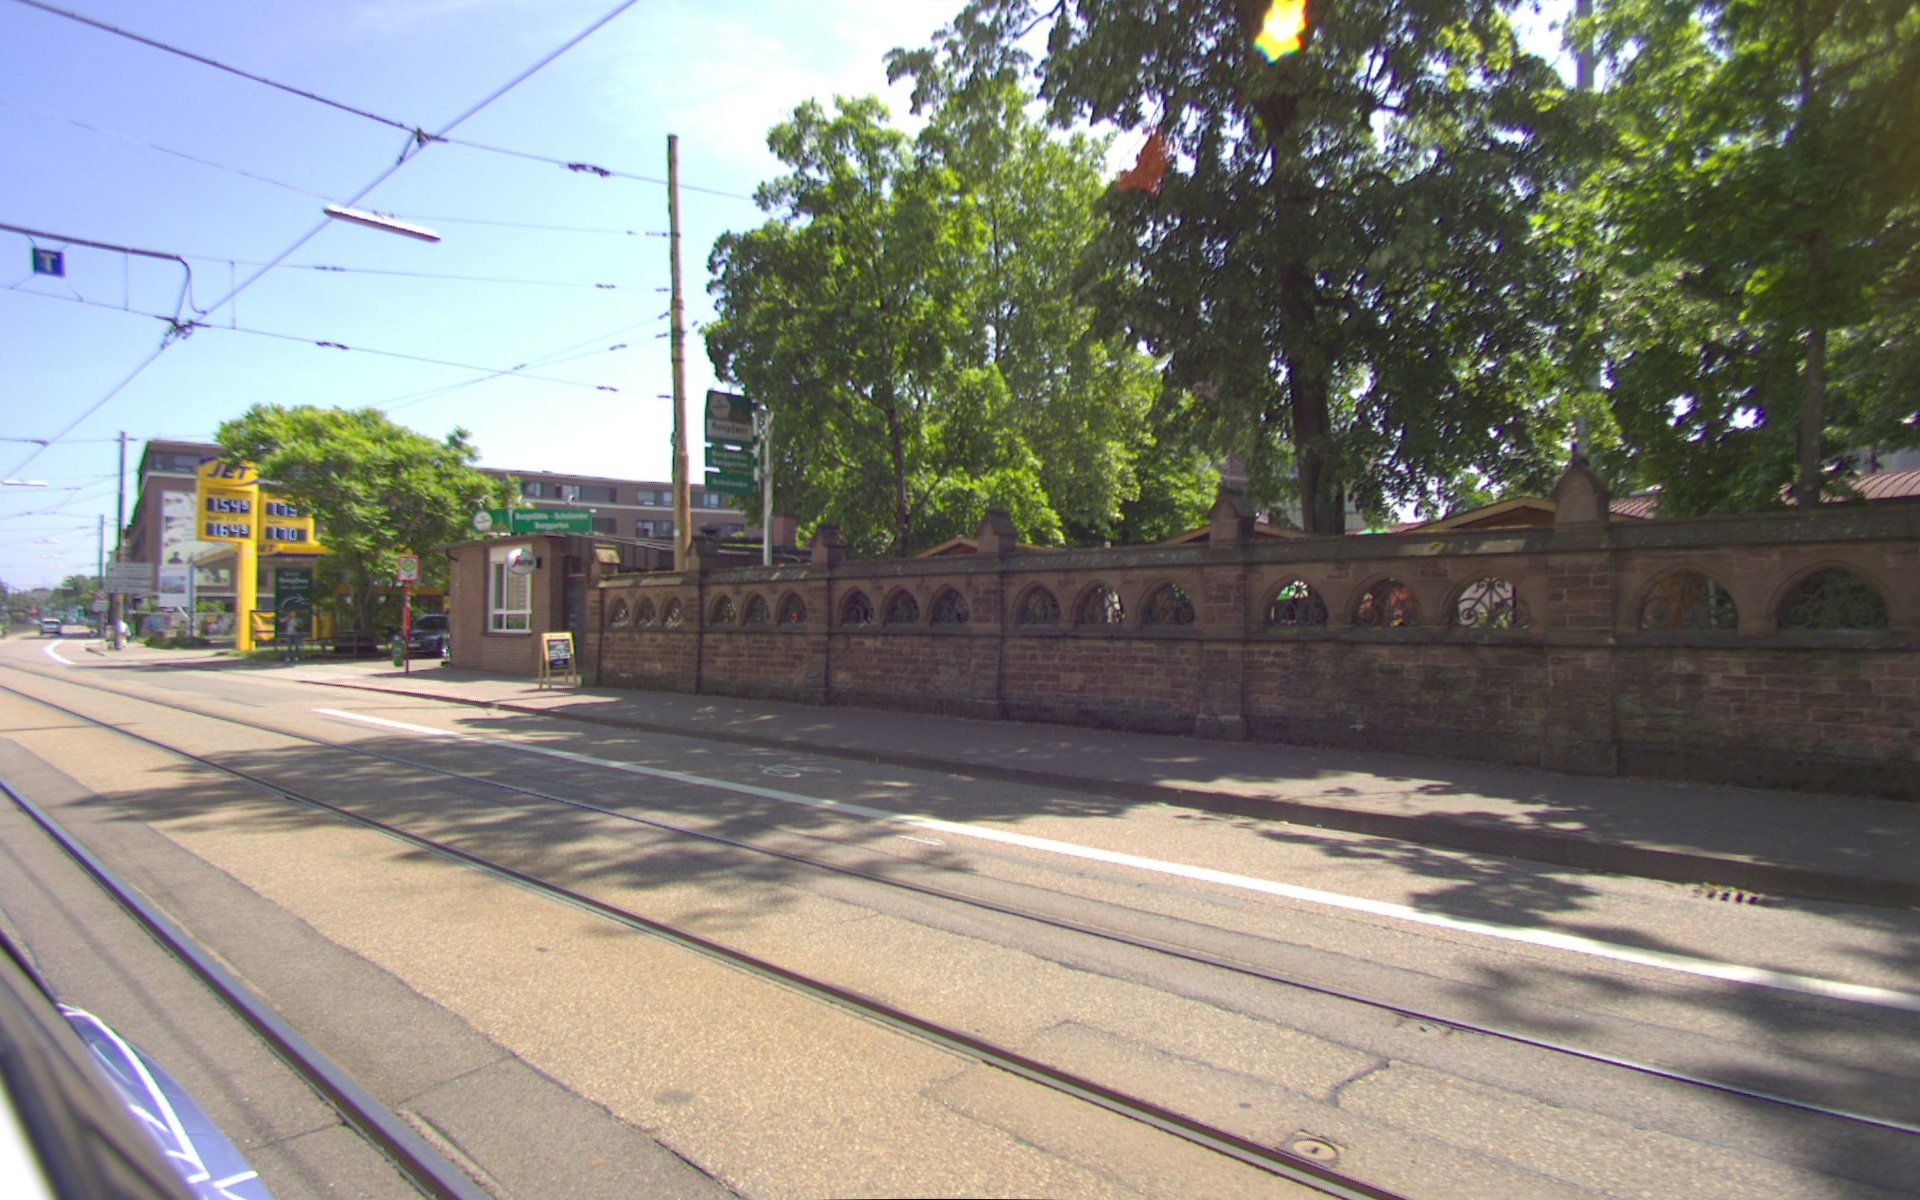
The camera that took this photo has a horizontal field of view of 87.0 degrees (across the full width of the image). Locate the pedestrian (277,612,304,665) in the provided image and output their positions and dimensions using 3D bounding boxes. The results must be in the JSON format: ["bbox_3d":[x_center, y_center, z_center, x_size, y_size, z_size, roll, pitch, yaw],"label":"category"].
[{"bbox_3d":[-22.956,1.309,34.679,0.698,1.789,0.574,-2,-1,38],"label":"pedestrian"}]

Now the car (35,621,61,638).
[{"bbox_3d":[-101.574,3.288,112.732,1.969,1.813,4.560,-1,0,-41],"label":"car"}]

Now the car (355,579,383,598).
[{"bbox_3d":[-52.343,-1.003,89.535,1.709,1.479,4.009,0,-1,-37],"label":"car"}]

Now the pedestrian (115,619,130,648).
[{"bbox_3d":[-49.164,1.976,59.407,0.616,1.704,0.724,1,-2,-35],"label":"pedestrian"}]

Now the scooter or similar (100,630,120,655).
[{"bbox_3d":[-42.952,2.146,51.149,1.375,1.209,0.513,-2,-1,39],"label":"scooter or similar"}]

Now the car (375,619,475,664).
[{"bbox_3d":[-19.544,1.463,37.196,1.904,1.500,4.460,-1,-1,-9],"label":"car"}]

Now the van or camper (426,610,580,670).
[{"bbox_3d":[-13.616,1.163,30.281,1.870,1.641,3.745,-3,-2,41],"label":"van or camper"}]
